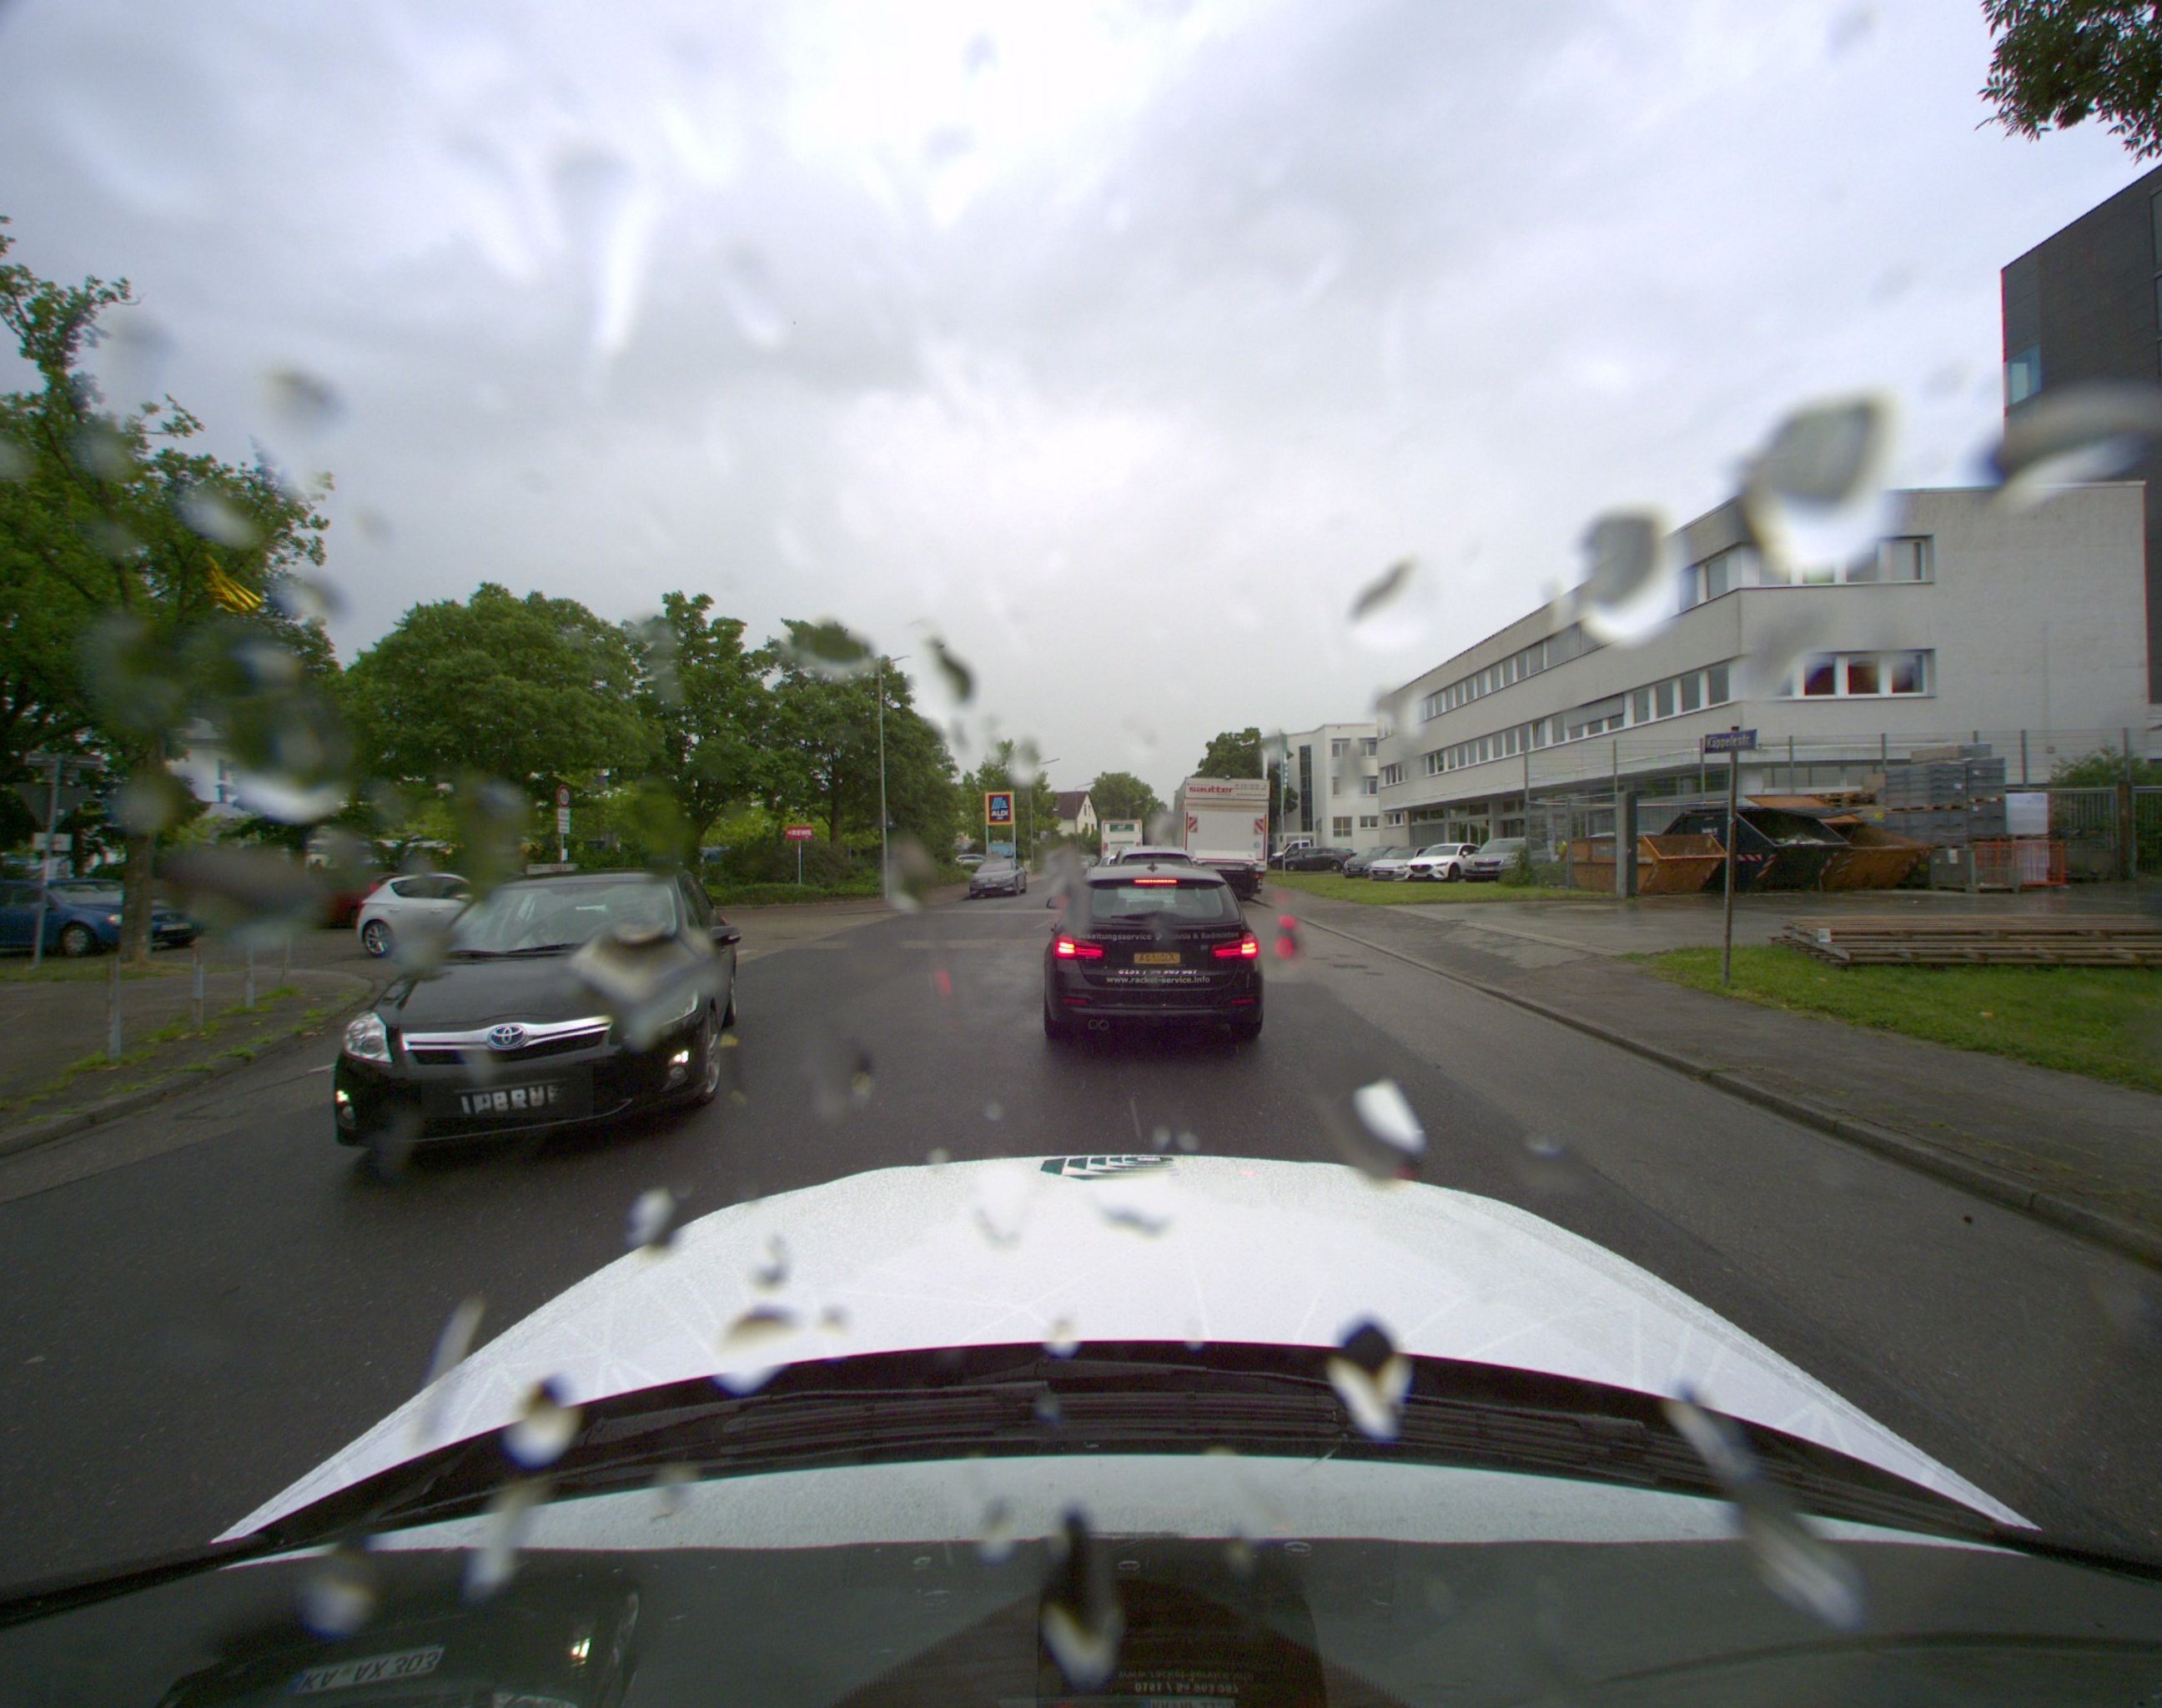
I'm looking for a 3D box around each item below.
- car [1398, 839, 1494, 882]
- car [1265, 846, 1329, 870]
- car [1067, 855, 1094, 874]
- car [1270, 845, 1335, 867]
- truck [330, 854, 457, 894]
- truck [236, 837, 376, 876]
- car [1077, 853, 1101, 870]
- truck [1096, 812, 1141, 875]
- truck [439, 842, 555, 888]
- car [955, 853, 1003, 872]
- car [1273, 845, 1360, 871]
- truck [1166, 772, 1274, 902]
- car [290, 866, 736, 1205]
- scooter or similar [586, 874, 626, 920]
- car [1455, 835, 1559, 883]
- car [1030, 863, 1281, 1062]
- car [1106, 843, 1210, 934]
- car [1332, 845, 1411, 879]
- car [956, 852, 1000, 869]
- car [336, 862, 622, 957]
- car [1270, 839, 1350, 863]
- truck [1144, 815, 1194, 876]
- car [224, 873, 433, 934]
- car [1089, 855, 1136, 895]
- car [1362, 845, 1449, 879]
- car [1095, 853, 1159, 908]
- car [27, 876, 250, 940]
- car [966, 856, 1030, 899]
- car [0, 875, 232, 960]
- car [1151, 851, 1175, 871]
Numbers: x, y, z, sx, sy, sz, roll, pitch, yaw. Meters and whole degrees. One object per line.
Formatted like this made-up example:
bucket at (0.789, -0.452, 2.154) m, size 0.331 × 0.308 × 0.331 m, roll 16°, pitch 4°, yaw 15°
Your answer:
car at (13.547, 0.216, 30.132) m, size 4.022 × 1.470 × 1.754 m, roll -2°, pitch 0°, yaw -42°
car at (14.497, 0.240, 54.728) m, size 3.734 × 1.396 × 1.738 m, roll 3°, pitch 3°, yaw 43°
car at (0.008, 0.804, 66.810) m, size 1.697 × 1.367 × 4.608 m, roll -4°, pitch 0°, yaw 5°
car at (15.512, 0.115, 57.154) m, size 4.099 × 1.415 × 1.701 m, roll 1°, pitch 3°, yaw 44°
truck at (-39.347, 1.088, 46.902) m, size 1.986 × 2.094 × 6.136 m, roll -1°, pitch 0°, yaw 1°
truck at (-43.886, 0.135, 46.394) m, size 1.986 × 2.060 × 6.136 m, roll -2°, pitch 0°, yaw 1°
car at (0.731, 0.687, 72.999) m, size 1.696 × 1.367 × 3.845 m, roll -4°, pitch 0°, yaw 7°
truck at (2.142, -0.715, 46.778) m, size 2.332 × 3.256 × 7.757 m, roll 1°, pitch 2°, yaw 2°
truck at (-35.150, 0.611, 49.333) m, size 1.984 × 2.601 × 6.405 m, roll -1°, pitch 0°, yaw 5°
car at (-8.175, 0.653, 65.406) m, size 3.553 × 1.460 × 1.715 m, roll 0°, pitch 0°, yaw 4°
car at (13.885, 0.240, 48.189) m, size 4.616 × 1.468 × 1.802 m, roll -1°, pitch 0°, yaw 41°
truck at (4.594, -0.509, 28.754) m, size 2.729 × 3.789 × 9.308 m, roll 1°, pitch 0°, yaw 4°
car at (-3.497, 0.854, 5.870) m, size 1.738 × 1.441 × 3.970 m, roll -2°, pitch 0°, yaw -22°
scooter or similar at (-12.733, 1.143, 21.846) m, size 0.282 × 1.175 × 1.063 m, roll -2°, pitch 0°, yaw 10°
car at (14.616, 0.143, 27.839) m, size 4.022 × 1.527 × 1.850 m, roll -2°, pitch 0°, yaw -42°
car at (0.588, 0.806, 7.866) m, size 1.798 × 1.395 × 4.001 m, roll 0°, pitch 0°, yaw 1°
car at (1.422, 0.612, 16.317) m, size 1.798 × 1.586 × 4.001 m, roll 0°, pitch 0°, yaw 1°
car at (13.028, 0.330, 36.396) m, size 3.788 × 1.393 × 1.686 m, roll -2°, pitch 0°, yaw -42°
car at (-9.948, 0.612, 78.835) m, size 3.969 × 1.540 × 1.913 m, roll -1°, pitch 0°, yaw 4°
car at (-10.665, 0.959, 14.570) m, size 3.964 × 1.441 × 1.741 m, roll -2°, pitch 0°, yaw 8°
car at (19.974, -0.238, 71.288) m, size 6.435 × 2.014 × 1.999 m, roll 0°, pitch -1°, yaw -2°
truck at (5.501, -0.521, 52.174) m, size 2.730 × 3.611 × 7.756 m, roll 1°, pitch 0°, yaw 3°
car at (-19.991, 1.287, 21.757) m, size 3.971 × 1.363 × 1.737 m, roll -2°, pitch 0°, yaw 2°
car at (1.251, 0.824, 33.418) m, size 1.798 × 1.552 × 4.001 m, roll 0°, pitch 0°, yaw 1°
car at (13.368, 0.301, 33.448) m, size 4.022 × 1.286 × 1.686 m, roll -2°, pitch 0°, yaw -42°
car at (1.364, 0.752, 25.079) m, size 1.798 × 1.552 × 4.001 m, roll 0°, pitch 0°, yaw 1°
car at (-25.039, 1.405, 21.736) m, size 3.971 × 1.441 × 1.737 m, roll -2°, pitch 0°, yaw 2°
car at (-3.344, 0.909, 33.700) m, size 1.802 × 1.528 × 4.751 m, roll -5°, pitch 0°, yaw 2°
car at (-19.636, 1.240, 16.060) m, size 3.971 × 1.441 × 1.737 m, roll -2°, pitch 0°, yaw 2°
car at (6.655, 0.577, 66.469) m, size 1.895 × 1.540 × 4.006 m, roll -1°, pitch 0°, yaw 5°
